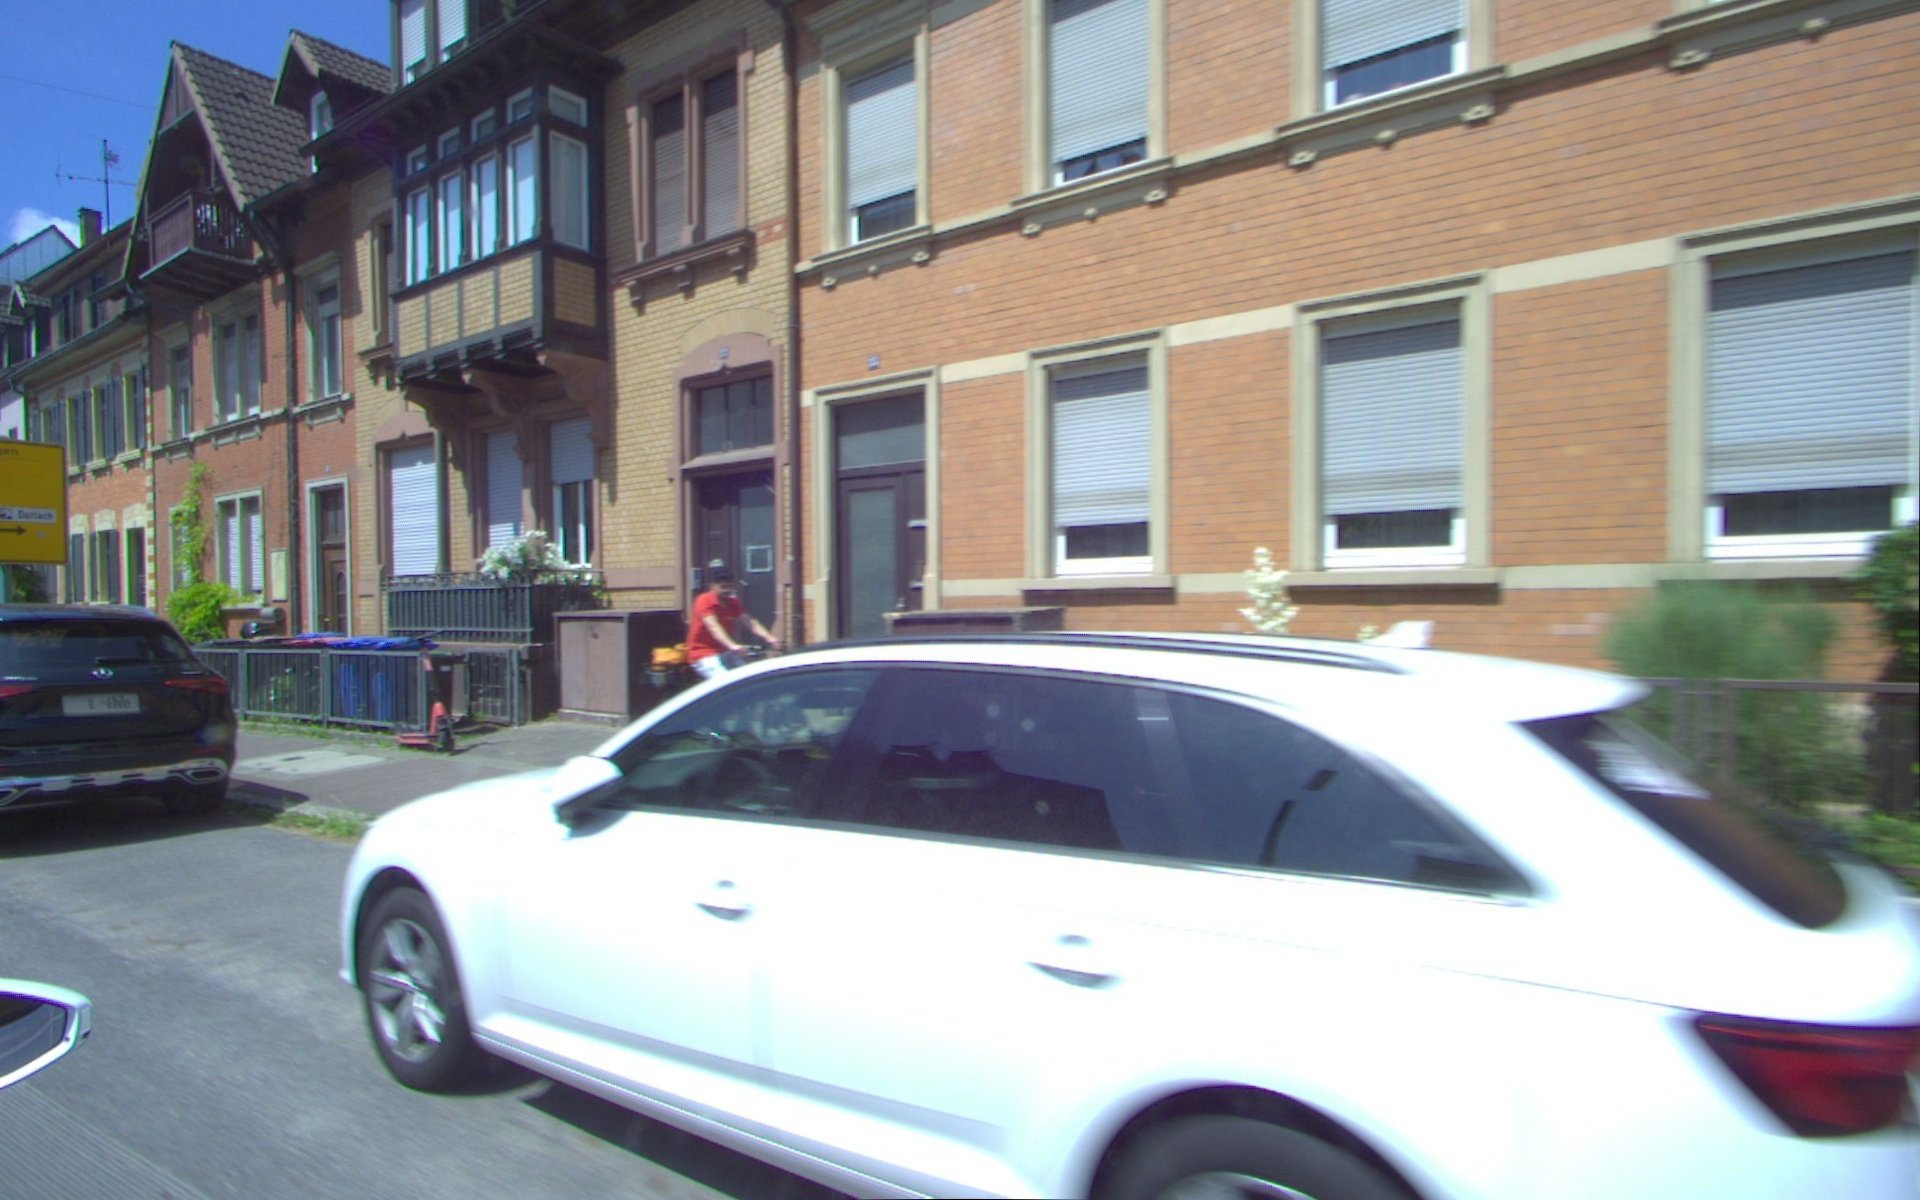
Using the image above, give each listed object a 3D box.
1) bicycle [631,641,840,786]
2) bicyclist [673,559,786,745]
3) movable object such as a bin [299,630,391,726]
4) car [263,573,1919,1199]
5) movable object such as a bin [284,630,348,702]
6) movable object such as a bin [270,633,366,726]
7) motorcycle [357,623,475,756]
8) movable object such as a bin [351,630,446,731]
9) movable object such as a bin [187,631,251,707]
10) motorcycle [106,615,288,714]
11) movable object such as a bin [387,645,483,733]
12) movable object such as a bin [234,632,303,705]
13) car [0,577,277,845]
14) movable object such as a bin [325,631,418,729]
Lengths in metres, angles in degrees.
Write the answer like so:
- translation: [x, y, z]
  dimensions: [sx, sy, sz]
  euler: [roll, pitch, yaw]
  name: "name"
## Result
- translation: [-1.909, 0.895, 8.403]
  dimensions: [1.856, 1.080, 0.592]
  euler: [-1, 0, 34]
  name: "bicycle"
- translation: [-1.945, 0.428, 8.450]
  dimensions: [0.780, 1.488, 0.531]
  euler: [-1, 0, 34]
  name: "bicyclist"
- translation: [-7.433, 0.919, 12.120]
  dimensions: [0.545, 1.103, 0.787]
  euler: [-1, 0, 30]
  name: "movable object such as a bin"
- translation: [-0.144, 0.732, 3.045]
  dimensions: [4.526, 1.433, 1.712]
  euler: [-1, -1, 34]
  name: "car"
- translation: [-10.150, 1.021, 15.789]
  dimensions: [0.751, 1.090, 0.607]
  euler: [-1, -1, 34]
  name: "movable object such as a bin"
- translation: [-7.973, 0.964, 12.454]
  dimensions: [0.676, 1.103, 0.787]
  euler: [-1, 0, 30]
  name: "movable object such as a bin"
- translation: [-5.490, 0.865, 10.084]
  dimensions: [1.339, 1.254, 0.439]
  euler: [-1, 1, 33]
  name: "motorcycle"
- translation: [-6.454, 0.905, 11.528]
  dimensions: [0.531, 1.103, 0.787]
  euler: [-1, 0, 30]
  name: "movable object such as a bin"
- translation: [-10.882, 0.996, 14.707]
  dimensions: [0.717, 1.090, 0.555]
  euler: [-1, -1, 34]
  name: "movable object such as a bin"
- translation: [-12.285, 0.998, 16.200]
  dimensions: [0.924, 1.427, 2.124]
  euler: [-1, 1, 32]
  name: "motorcycle"
- translation: [-5.861, 0.975, 11.194]
  dimensions: [0.531, 0.919, 0.787]
  euler: [-1, 0, 30]
  name: "movable object such as a bin"
- translation: [-10.517, 1.024, 15.233]
  dimensions: [0.738, 1.068, 0.657]
  euler: [-1, -1, 34]
  name: "movable object such as a bin"
- translation: [-7.630, 0.751, 8.031]
  dimensions: [4.561, 1.683, 1.989]
  euler: [-1, -1, 33]
  name: "car"
- translation: [-6.940, 0.923, 11.827]
  dimensions: [0.535, 1.103, 0.787]
  euler: [-1, 0, 30]
  name: "movable object such as a bin"
